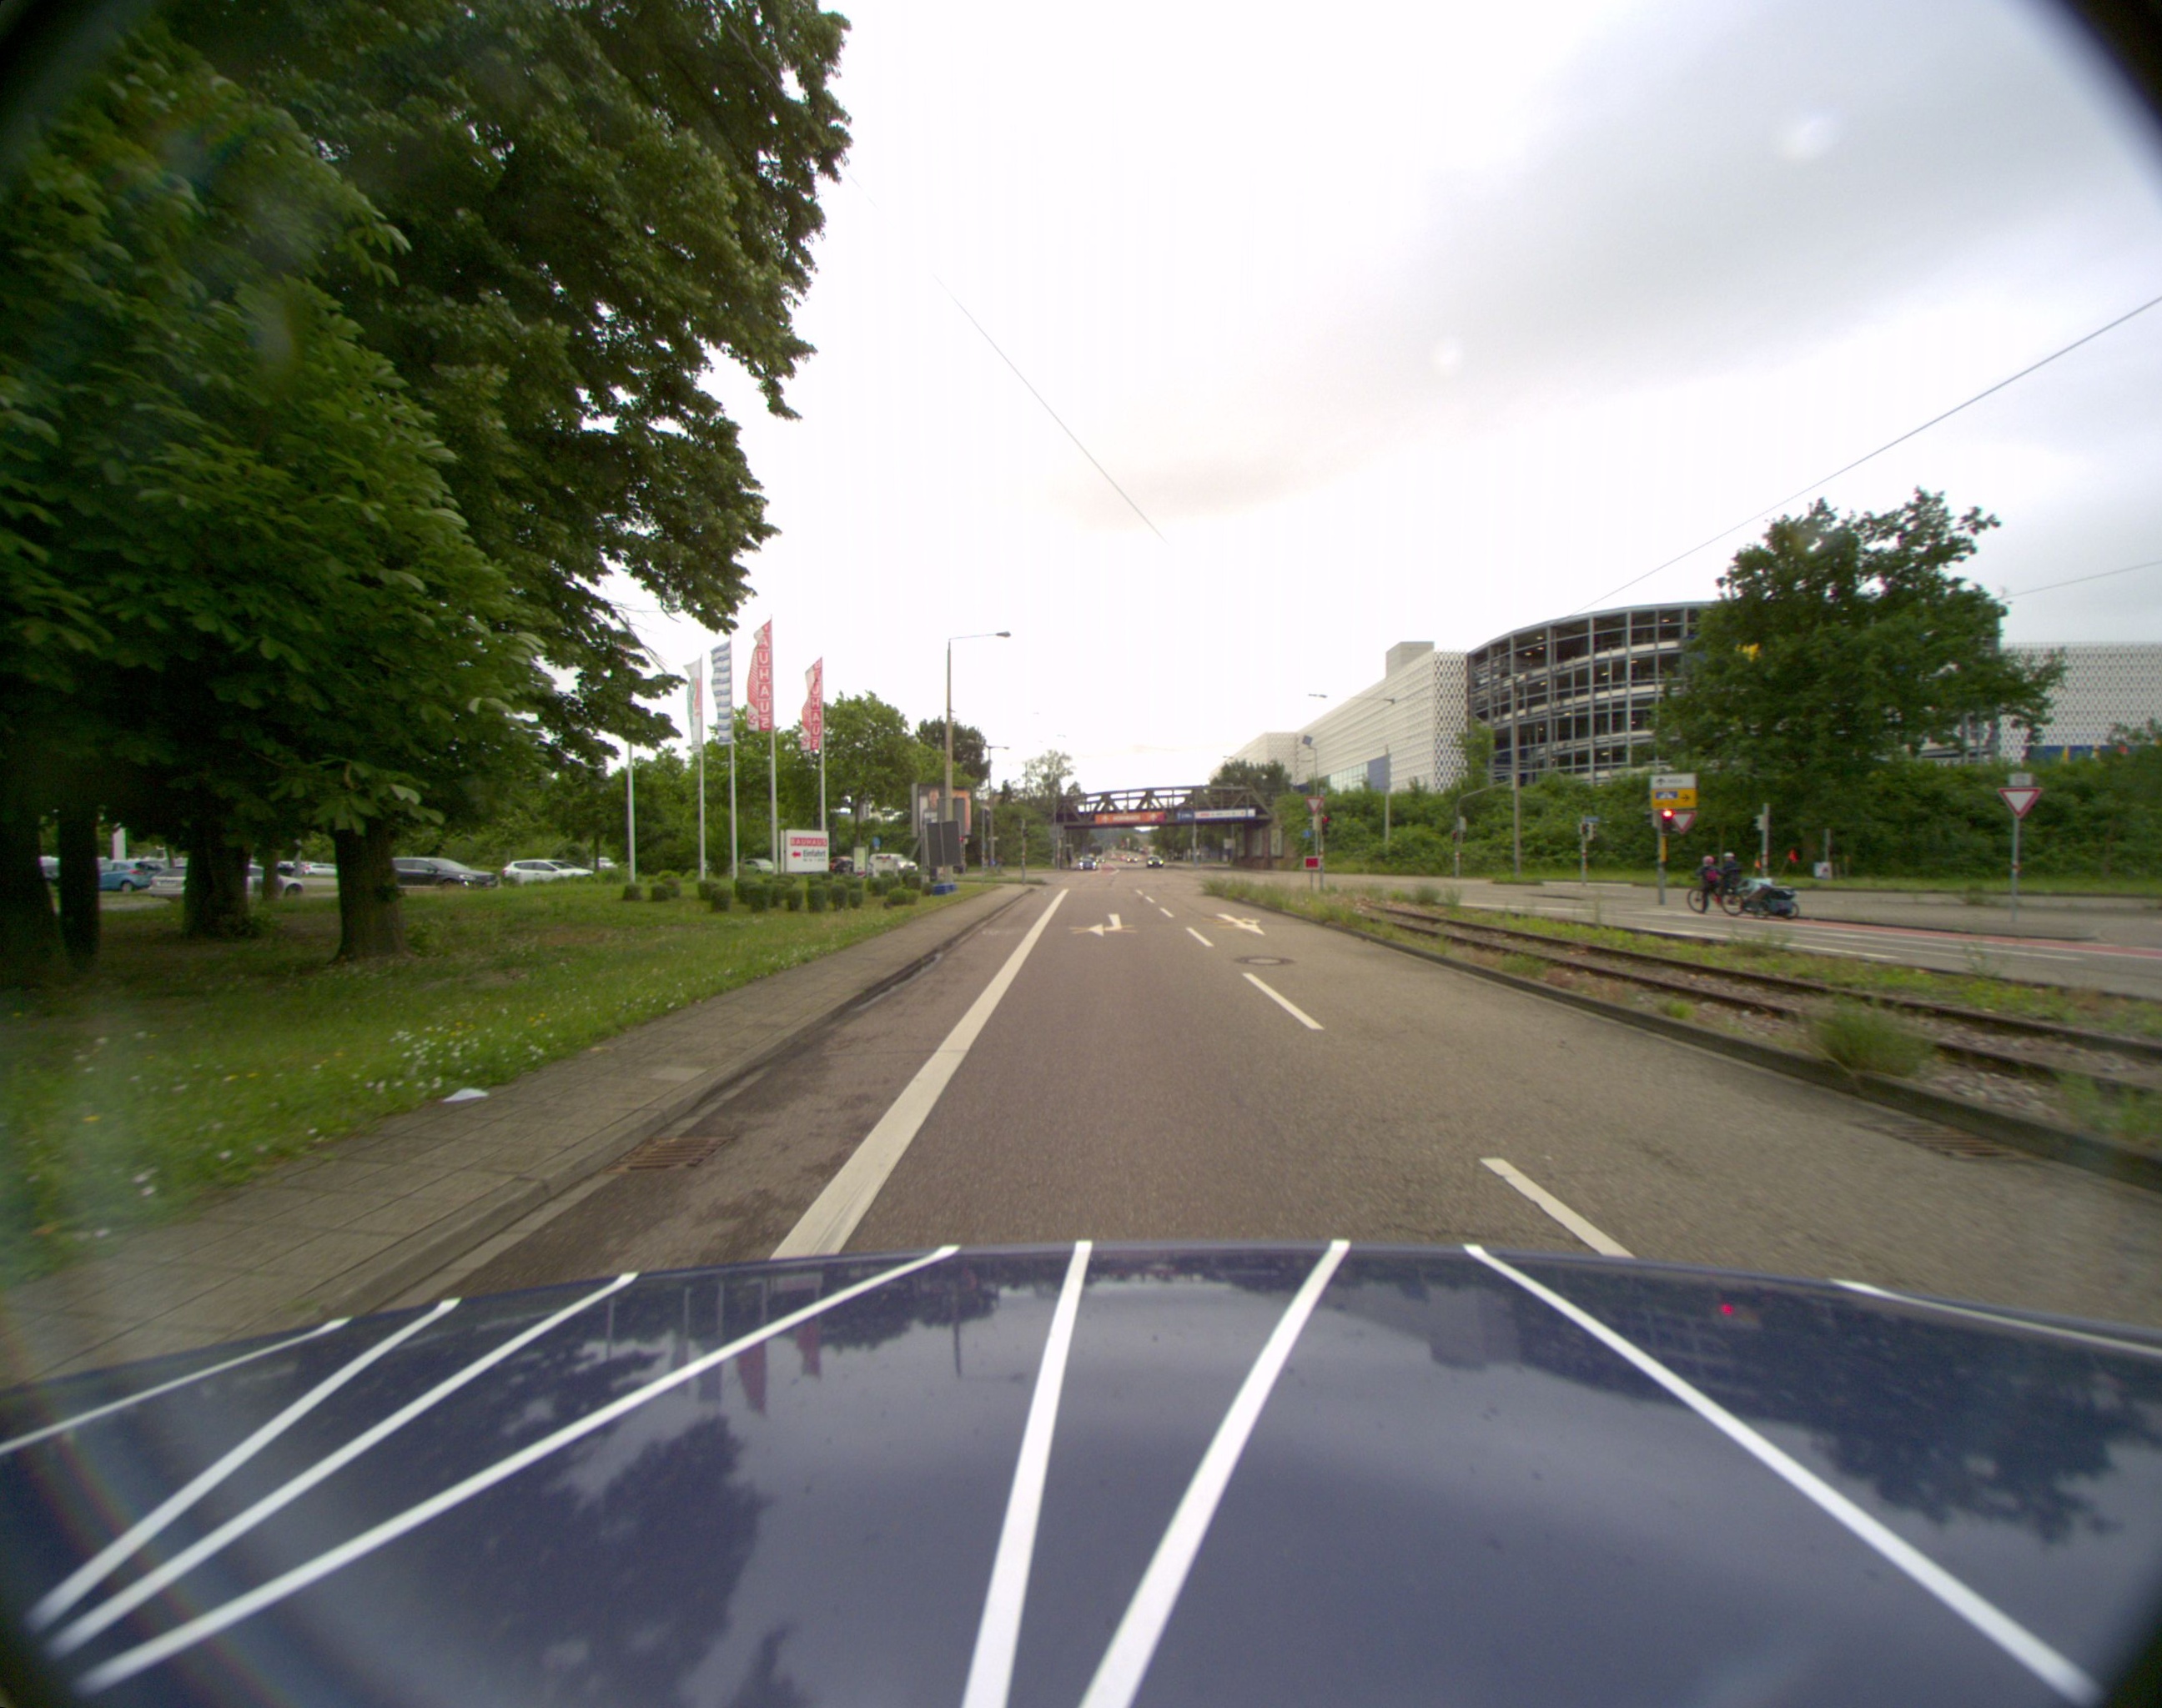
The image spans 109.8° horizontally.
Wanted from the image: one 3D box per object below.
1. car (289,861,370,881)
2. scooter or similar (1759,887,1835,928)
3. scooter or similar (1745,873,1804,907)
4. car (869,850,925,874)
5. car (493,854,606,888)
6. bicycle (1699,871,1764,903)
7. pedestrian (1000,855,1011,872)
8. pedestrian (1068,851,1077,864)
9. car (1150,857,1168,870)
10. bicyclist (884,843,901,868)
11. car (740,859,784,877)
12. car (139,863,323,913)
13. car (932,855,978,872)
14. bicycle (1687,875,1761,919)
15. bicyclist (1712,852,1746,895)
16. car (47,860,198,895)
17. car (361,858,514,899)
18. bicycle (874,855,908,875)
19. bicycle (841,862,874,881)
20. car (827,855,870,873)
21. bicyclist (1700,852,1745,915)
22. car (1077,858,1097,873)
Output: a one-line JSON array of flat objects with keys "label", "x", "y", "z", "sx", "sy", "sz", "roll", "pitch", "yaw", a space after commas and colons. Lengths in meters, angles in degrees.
[{"label": "car", "x": -76.997, "y": 1.744, "z": 77.931, "sx": 2.149, "sy": 1.883, "sz": 5.738, "roll": 1, "pitch": 1, "yaw": 41}, {"label": "scooter or similar", "x": 17.518, "y": 1.291, "z": 18.630, "sx": 0.845, "sy": 0.902, "sz": 1.199, "roll": -2, "pitch": 0, "yaw": 13}, {"label": "scooter or similar", "x": 23.147, "y": 1.172, "z": 25.395, "sx": 0.647, "sy": 1.056, "sz": 1.450, "roll": -2, "pitch": 0, "yaw": 2}, {"label": "car", "x": -15.079, "y": 0.610, "z": 62.249, "sx": 4.408, "sy": 1.818, "sz": 1.884, "roll": 0, "pitch": 2, "yaw": 34}, {"label": "car", "x": -26.593, "y": 0.820, "z": 38.123, "sx": 4.233, "sy": 1.488, "sz": 1.930, "roll": -2, "pitch": 1, "yaw": -3}, {"label": "bicycle", "x": 23.185, "y": 1.151, "z": 27.126, "sx": 0.647, "sy": 1.056, "sz": 2.001, "roll": -2, "pitch": 0, "yaw": 2}, {"label": "pedestrian", "x": -7.340, "y": 0.875, "z": 73.490, "sx": 0.745, "sy": 1.630, "sz": 0.776, "roll": -1, "pitch": 1, "yaw": -39}, {"label": "pedestrian", "x": -1.131, "y": 0.441, "z": 97.389, "sx": 0.785, "sy": 1.749, "sz": 0.876, "roll": 0, "pitch": 1, "yaw": 30}, {"label": "car", "x": 9.455, "y": 1.125, "z": 92.033, "sx": 1.836, "sy": 1.416, "sz": 4.000, "roll": -2, "pitch": 0, "yaw": 1}, {"label": "bicyclist", "x": -11.203, "y": 0.082, "z": 45.097, "sx": 0.758, "sy": 1.511, "sz": 0.583, "roll": 0, "pitch": 1, "yaw": 18}, {"label": "car", "x": -28.413, "y": 1.237, "z": 67.680, "sx": 3.989, "sy": 1.524, "sz": 1.788, "roll": -2, "pitch": 1, "yaw": 37}, {"label": "car", "x": -33.178, "y": 1.271, "z": 29.912, "sx": 1.998, "sy": 1.661, "sz": 4.506, "roll": -2, "pitch": 1, "yaw": 3}, {"label": "car", "x": -11.594, "y": 0.863, "z": 69.960, "sx": 3.989, "sy": 1.416, "sz": 1.842, "roll": -2, "pitch": 0, "yaw": 33}, {"label": "bicycle", "x": 17.430, "y": 1.150, "z": 20.652, "sx": 0.646, "sy": 1.056, "sz": 2.026, "roll": -2, "pitch": 0, "yaw": 13}, {"label": "bicyclist", "x": 23.165, "y": 0.701, "z": 27.177, "sx": 0.647, "sy": 1.509, "sz": 0.626, "roll": -2, "pitch": 0, "yaw": 2}, {"label": "car", "x": -44.158, "y": 1.058, "z": 35.082, "sx": 4.564, "sy": 1.498, "sz": 1.987, "roll": 0, "pitch": 1, "yaw": 2}, {"label": "car", "x": -26.990, "y": 0.996, "z": 31.991, "sx": 4.612, "sy": 1.488, "sz": 1.930, "roll": -2, "pitch": 1, "yaw": -3}, {"label": "bicycle", "x": -11.288, "y": 0.661, "z": 45.146, "sx": 1.890, "sy": 1.142, "sz": 0.583, "roll": 0, "pitch": 1, "yaw": 18}, {"label": "bicycle", "x": -13.219, "y": 1.026, "z": 44.901, "sx": 1.811, "sy": 1.111, "sz": 0.487, "roll": 0, "pitch": 1, "yaw": -37}, {"label": "car", "x": -20.206, "y": 0.847, "z": 66.058, "sx": 3.678, "sy": 1.523, "sz": 1.700, "roll": 0, "pitch": 0, "yaw": 36}, {"label": "bicyclist", "x": 17.411, "y": 0.797, "z": 20.630, "sx": 0.646, "sy": 1.673, "sz": 0.686, "roll": -2, "pitch": 0, "yaw": 13}, {"label": "car", "x": 0.623, "y": 1.221, "z": 83.361, "sx": 1.788, "sy": 1.637, "sz": 3.998, "roll": 0, "pitch": 0, "yaw": -5}]
